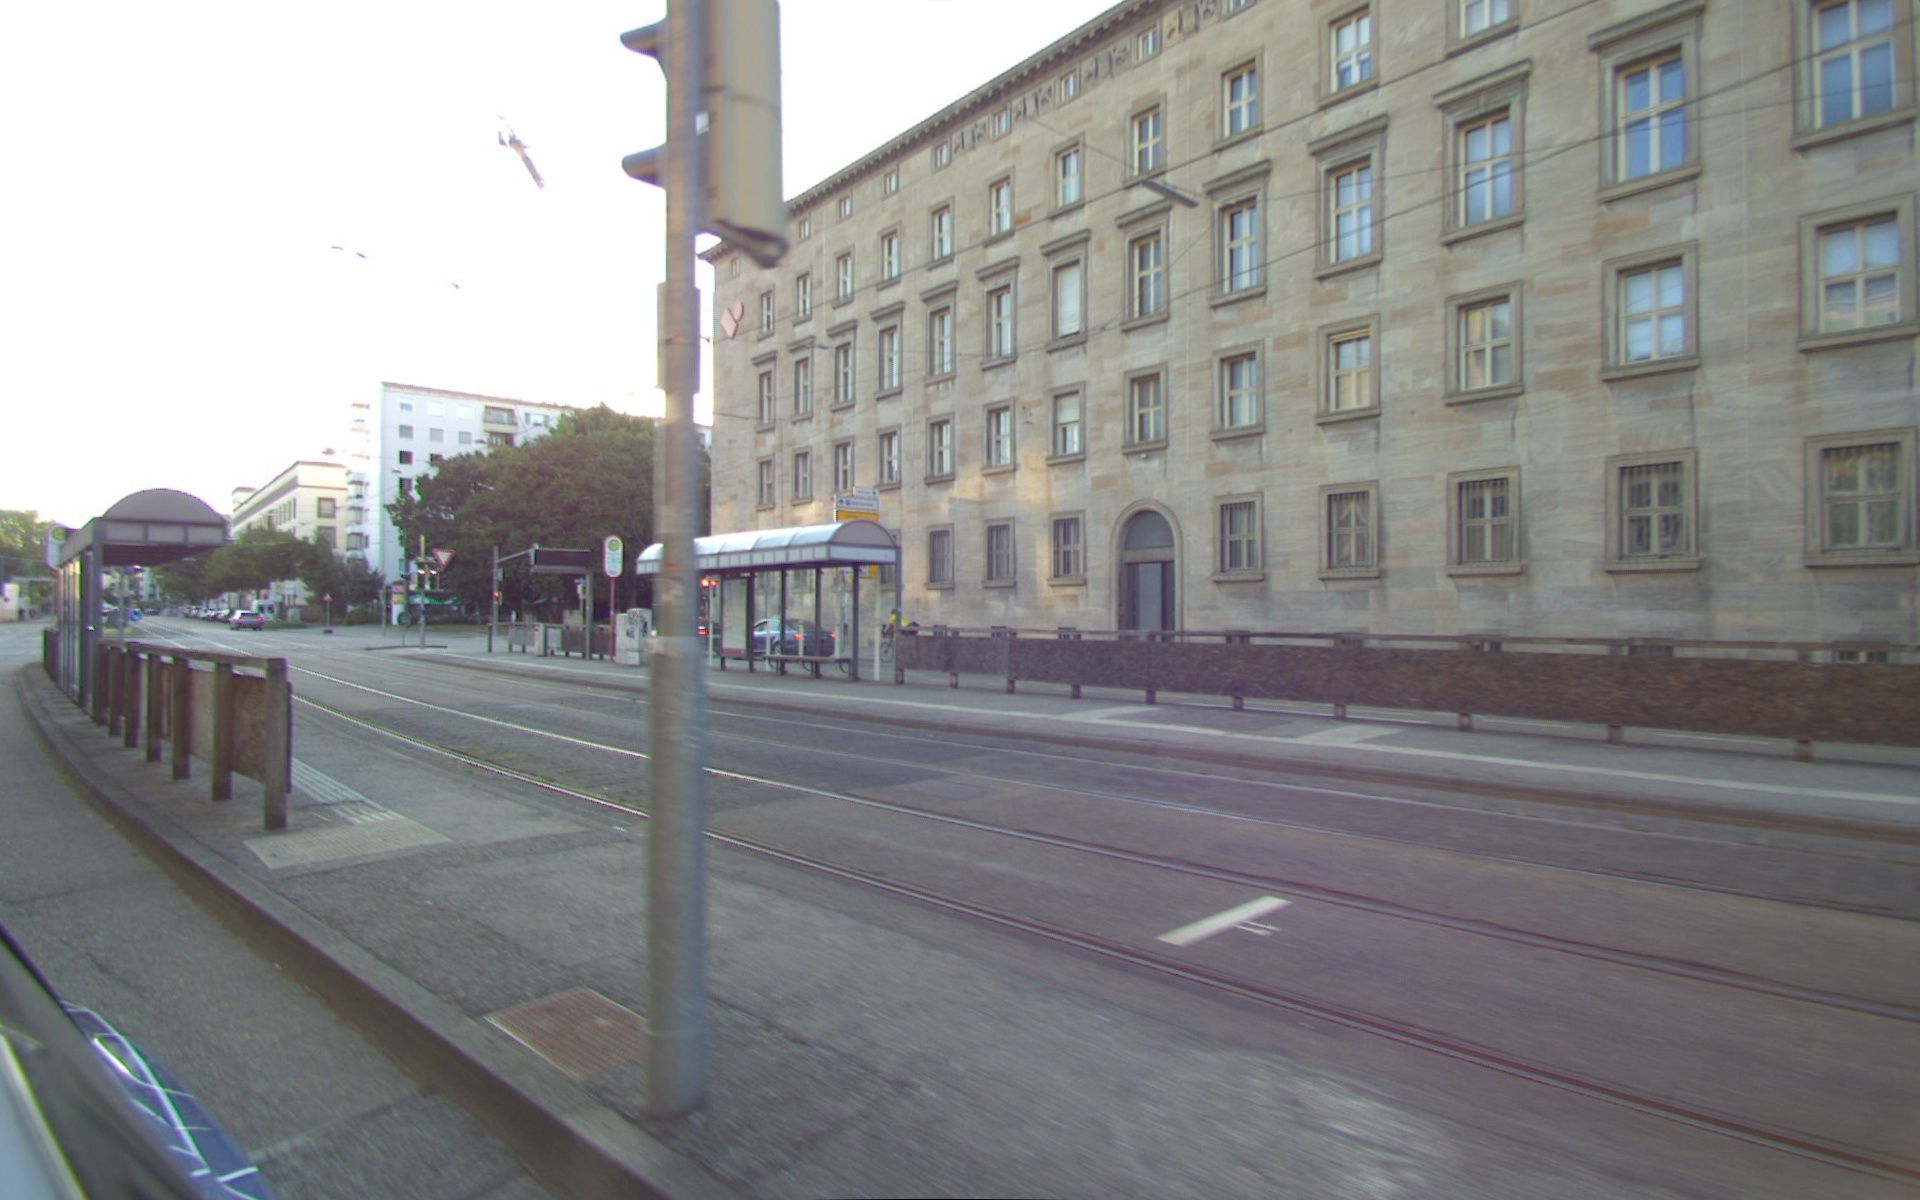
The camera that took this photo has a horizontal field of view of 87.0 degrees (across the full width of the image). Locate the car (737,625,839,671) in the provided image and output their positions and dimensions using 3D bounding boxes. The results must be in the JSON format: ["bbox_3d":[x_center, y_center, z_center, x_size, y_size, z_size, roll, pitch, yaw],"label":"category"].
[{"bbox_3d":[-5.720,1.539,33.370,1.622,1.438,3.710,1,-2,-41],"label":"car"}]

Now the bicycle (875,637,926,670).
[{"bbox_3d":[-1.937,1.702,32.560,0.732,1.025,1.763,1,-2,-40],"label":"bicycle"}]

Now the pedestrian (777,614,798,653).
[{"bbox_3d":[-7.732,1.510,45.333,0.686,1.723,0.647,1,-2,-38],"label":"pedestrian"}]

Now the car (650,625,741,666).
[{"bbox_3d":[-10.046,1.682,38.235,1.622,1.438,4.238,1,-2,-41],"label":"car"}]

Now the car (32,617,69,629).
[{"bbox_3d":[-126.503,3.192,140.841,3.750,1.661,1.866,1,-2,-41],"label":"car"}]

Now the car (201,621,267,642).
[{"bbox_3d":[-58.867,2.554,82.094,4.297,1.676,1.881,0,-1,10],"label":"car"}]

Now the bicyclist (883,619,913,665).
[{"bbox_3d":[-2.005,1.354,32.648,0.746,1.451,0.598,1,-2,-40],"label":"bicyclist"}]

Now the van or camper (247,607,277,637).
[{"bbox_3d":[-67.410,2.114,97.680,2.078,2.702,4.718,0,-3,-39],"label":"van or camper"}]

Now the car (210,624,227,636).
[{"bbox_3d":[-97.110,3.933,132.547,1.695,1.441,3.817,1,-2,-37],"label":"car"}]
